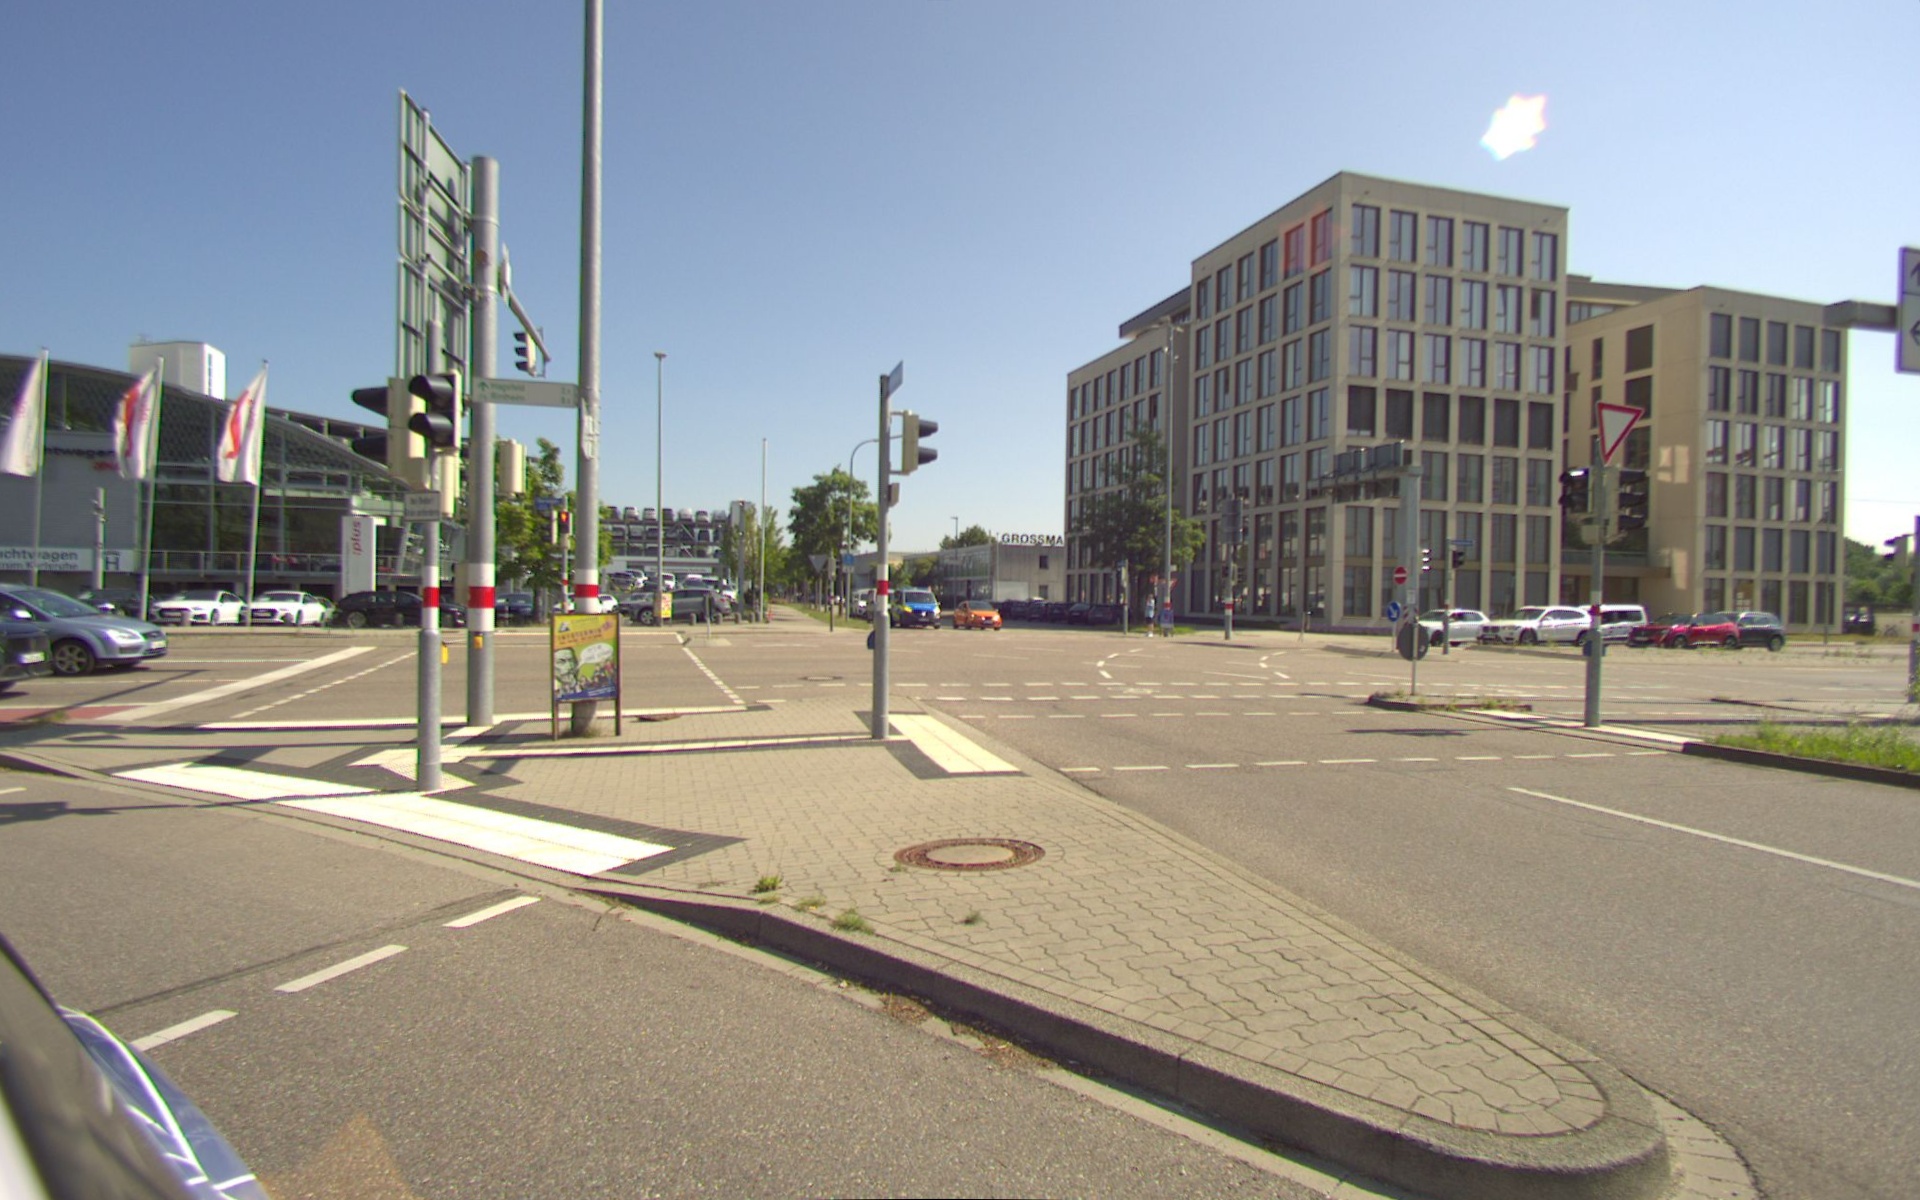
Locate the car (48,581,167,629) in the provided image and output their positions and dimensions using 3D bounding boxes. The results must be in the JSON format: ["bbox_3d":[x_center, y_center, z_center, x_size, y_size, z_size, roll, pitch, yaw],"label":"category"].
[{"bbox_3d":[-29.942,0.181,35.710,1.856,1.558,3.900,1,0,-18],"label":"car"}]

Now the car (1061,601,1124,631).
[{"bbox_3d":[8.633,1.036,66.160,3.950,1.840,1.997,1,0,6],"label":"car"}]

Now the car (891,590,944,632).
[{"bbox_3d":[-2.126,0.511,49.203,2.153,1.923,4.738,1,0,-7],"label":"car"}]

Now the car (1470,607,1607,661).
[{"bbox_3d":[21.006,1.199,36.779,4.237,1.851,2.033,0,1,-19],"label":"car"}]

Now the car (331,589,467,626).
[{"bbox_3d":[-21.532,0.294,39.043,4.277,1.360,1.827,1,0,-17],"label":"car"}]

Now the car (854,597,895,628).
[{"bbox_3d":[-4.722,0.655,55.511,1.640,1.568,3.865,1,1,-13],"label":"car"}]

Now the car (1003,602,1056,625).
[{"bbox_3d":[5.289,1.008,76.586,3.950,1.626,1.997,1,0,6],"label":"car"}]

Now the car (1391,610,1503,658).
[{"bbox_3d":[18.887,1.285,39.279,3.701,1.725,1.840,0,1,-21],"label":"car"}]

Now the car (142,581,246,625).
[{"bbox_3d":[-27.448,0.108,36.414,1.756,1.481,3.900,1,0,-18],"label":"car"}]

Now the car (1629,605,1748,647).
[{"bbox_3d":[27.656,0.986,38.423,4.049,1.539,1.535,1,-1,-17],"label":"car"}]

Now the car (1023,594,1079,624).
[{"bbox_3d":[6.542,0.667,72.775,3.950,2.029,1.997,1,0,6],"label":"car"}]

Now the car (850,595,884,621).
[{"bbox_3d":[-5.844,0.479,63.131,1.884,1.504,3.873,1,1,-9],"label":"car"}]

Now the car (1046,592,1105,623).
[{"bbox_3d":[7.932,0.528,69.553,3.950,2.029,1.997,1,0,6],"label":"car"}]

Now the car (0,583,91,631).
[{"bbox_3d":[-32.484,0.230,35.300,1.897,1.574,3.900,1,0,-18],"label":"car"}]

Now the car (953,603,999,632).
[{"bbox_3d":[0.732,0.839,49.713,1.713,1.374,3.872,1,0,-7],"label":"car"}]

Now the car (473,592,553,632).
[{"bbox_3d":[-17.370,0.463,39.501,1.967,1.472,4.009,1,0,-10],"label":"car"}]

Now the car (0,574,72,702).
[{"bbox_3d":[-14.626,0.488,13.066,4.427,1.639,1.721,0,1,-17],"label":"car"}]

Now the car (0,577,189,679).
[{"bbox_3d":[-15.491,0.433,16.904,3.769,1.625,1.764,1,1,-9],"label":"car"}]

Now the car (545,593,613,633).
[{"bbox_3d":[-15.083,0.467,40.289,1.858,1.471,4.009,1,1,-10],"label":"car"}]

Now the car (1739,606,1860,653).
[{"bbox_3d":[35.597,1.230,42.935,4.172,1.903,1.840,1,1,-15],"label":"car"}]

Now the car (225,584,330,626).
[{"bbox_3d":[-25.017,0.183,37.262,1.971,1.432,4.126,1,0,-16],"label":"car"}]

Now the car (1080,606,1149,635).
[{"bbox_3d":[9.595,1.274,63.091,3.943,1.751,2.000,0,1,-1],"label":"car"}]

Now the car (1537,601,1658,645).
[{"bbox_3d":[26.023,0.943,41.327,4.158,1.724,1.910,1,0,-17],"label":"car"}]

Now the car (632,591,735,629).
[{"bbox_3d":[-12.493,0.455,45.890,4.407,1.599,1.985,1,0,-14],"label":"car"}]
